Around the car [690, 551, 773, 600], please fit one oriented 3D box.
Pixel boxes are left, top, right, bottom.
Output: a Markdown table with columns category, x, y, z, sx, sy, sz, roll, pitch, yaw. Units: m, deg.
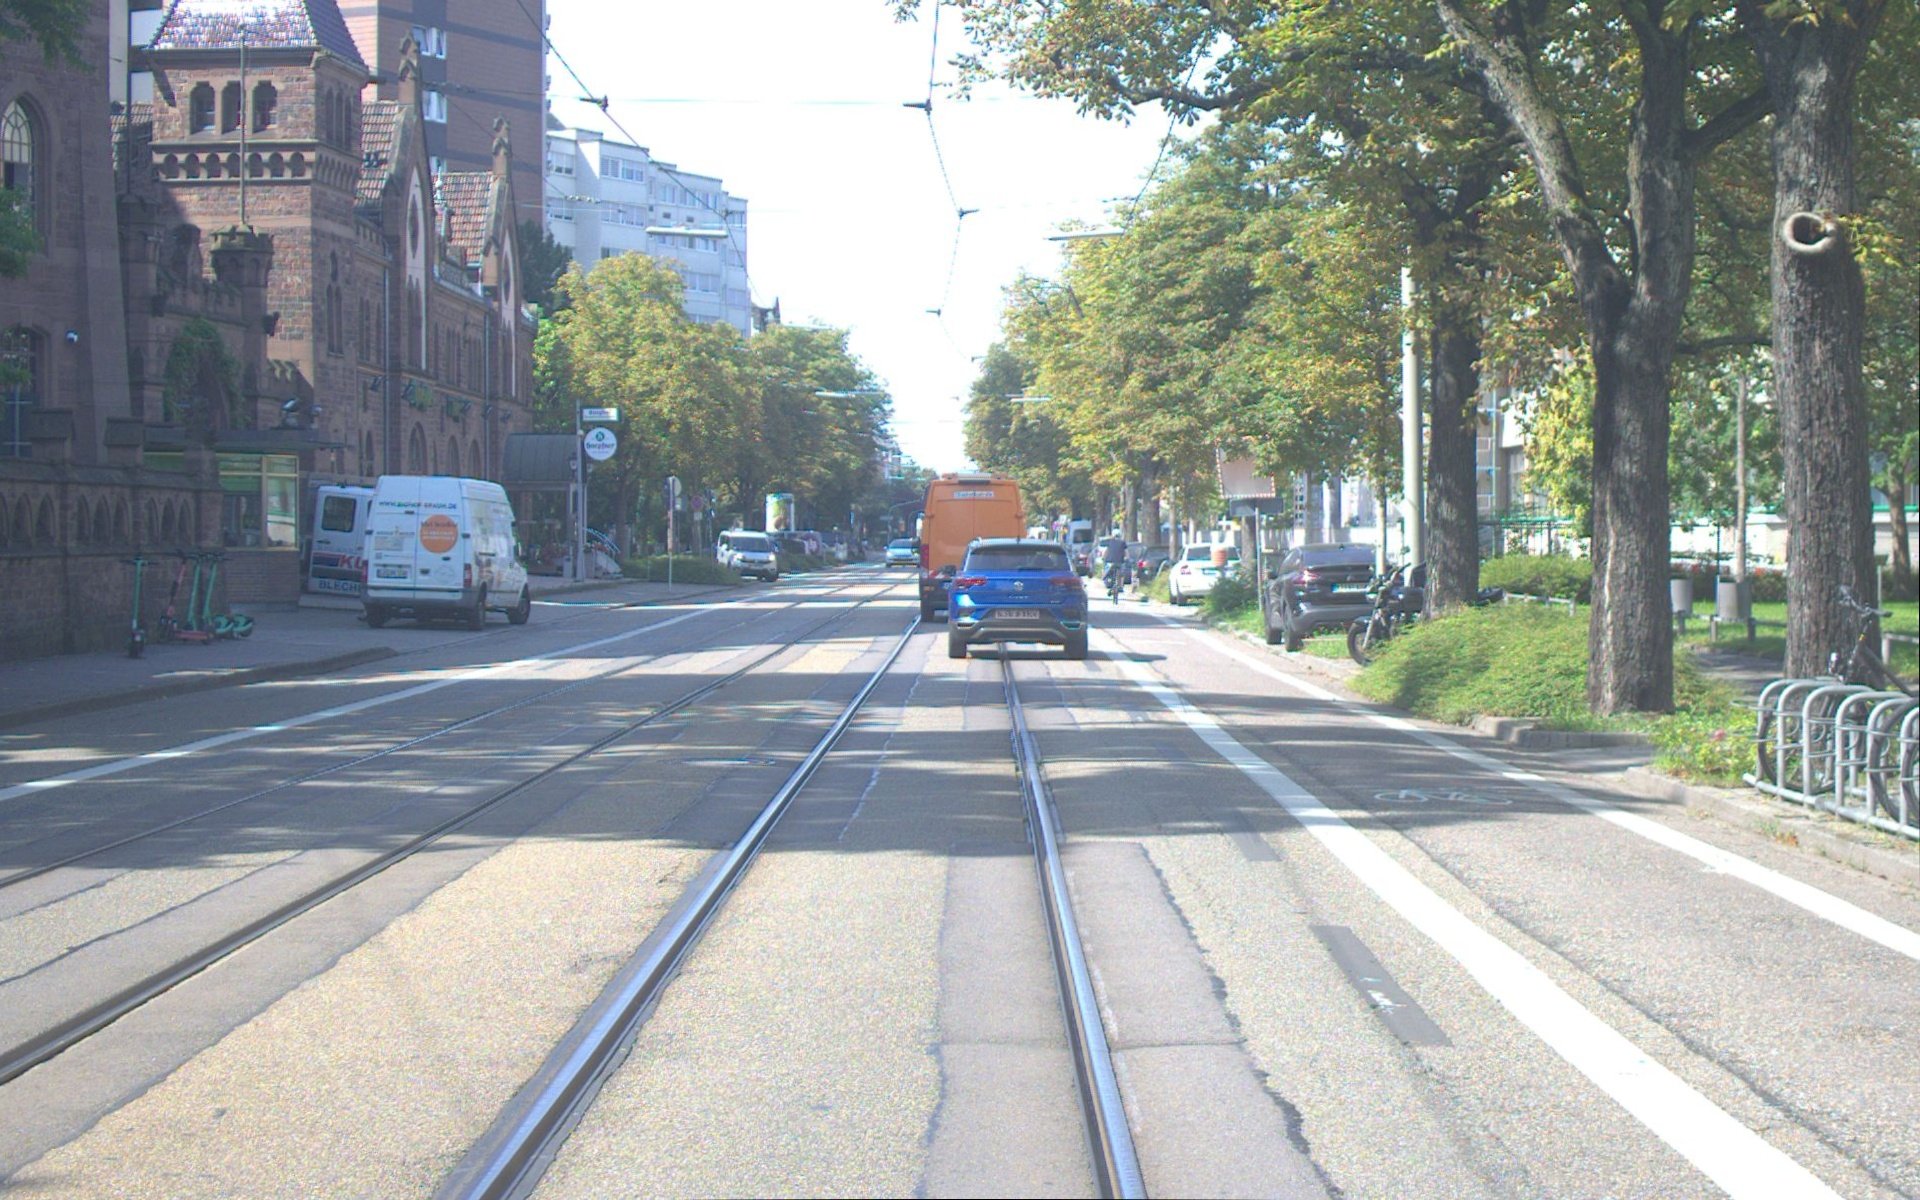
| category | x | y | z | sx | sy | sz | roll | pitch | yaw |
| --- | --- | --- | --- | --- | --- | --- | --- | --- | --- |
| car | -8.582 | -0.941 | 128.900 | 1.746 | 1.790 | 4.001 | 0 | 1 | -25 |

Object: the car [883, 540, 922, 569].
| category | x | y | z | sx | sy | sz | roll | pitch | yaw |
| --- | --- | --- | --- | --- | --- | --- | --- | --- | --- |
| car | -3.027 | -2.383 | 180.900 | 1.847 | 1.486 | 4.867 | -1 | 1 | 1 |

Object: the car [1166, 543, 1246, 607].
| category | x | y | z | sx | sy | sz | roll | pitch | yaw |
| --- | --- | --- | --- | --- | --- | --- | --- | --- | --- |
| car | 5.831 | -0.611 | 81.864 | 1.659 | 1.476 | 4.217 | -1 | 1 | 1 |

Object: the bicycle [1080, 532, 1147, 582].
| category | x | y | z | sx | sy | sz | roll | pitch | yaw |
| --- | --- | --- | --- | --- | --- | --- | --- | --- | --- |
| bicycle | 3.585 | -1.022 | 80.826 | 1.401 | 1.130 | 4.000 | 0 | 1 | 0 |

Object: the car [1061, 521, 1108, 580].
| category | x | y | z | sx | sy | sz | roll | pitch | yaw |
| --- | --- | --- | --- | --- | --- | --- | --- | --- | --- |
| car | 6.004 | -2.401 | 166.097 | 1.993 | 2.746 | 5.761 | 1 | 1 | -1 |

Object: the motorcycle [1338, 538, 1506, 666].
| category | x | y | z | sx | sy | sz | roll | pitch | yaw |
| --- | --- | --- | --- | --- | --- | --- | --- | --- | --- |
| motorcycle | 5.622 | 0.005 | 42.019 | 0.850 | 1.510 | 2.456 | 0 | 1 | -24 |

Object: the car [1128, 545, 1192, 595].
| category | x | y | z | sx | sy | sz | roll | pitch | yaw |
| --- | --- | --- | --- | --- | --- | --- | --- | --- | --- |
| car | 5.806 | -0.883 | 100.247 | 1.659 | 1.403 | 4.217 | -1 | 1 | 1 |

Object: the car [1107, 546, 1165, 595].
| category | x | y | z | sx | sy | sz | roll | pitch | yaw |
| --- | --- | --- | --- | --- | --- | --- | --- | --- | --- |
| car | 5.705 | -0.958 | 111.801 | 1.743 | 1.550 | 4.217 | -1 | 1 | 1 |

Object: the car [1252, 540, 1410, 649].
| category | x | y | z | sx | sy | sz | roll | pitch | yaw |
| --- | --- | --- | --- | --- | --- | --- | --- | --- | --- |
| car | 5.446 | -0.112 | 50.988 | 1.756 | 1.510 | 4.610 | -1 | 1 | -1 |

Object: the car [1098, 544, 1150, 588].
| category | x | y | z | sx | sy | sz | roll | pitch | yaw |
| --- | --- | --- | --- | --- | --- | --- | --- | --- | --- |
| car | 5.925 | -1.252 | 124.895 | 1.633 | 1.579 | 4.189 | 1 | 1 | -1 |

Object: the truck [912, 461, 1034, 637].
| category | x | y | z | sx | sy | sz | roll | pitch | yaw |
| --- | --- | --- | --- | --- | --- | --- | --- | --- | --- |
| truck | 0.258 | -0.949 | 63.997 | 2.135 | 3.113 | 6.085 | 0 | 1 | 1 |

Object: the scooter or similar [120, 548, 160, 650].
| category | x | y | z | sx | sy | sz | roll | pitch | yaw |
| --- | --- | --- | --- | --- | --- | --- | --- | --- | --- |
| scooter or similar | -9.624 | -0.024 | 40.338 | 0.420 | 1.174 | 1.317 | 0 | 1 | -15 |

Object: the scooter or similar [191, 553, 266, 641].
| category | x | y | z | sx | sy | sz | roll | pitch | yaw |
| --- | --- | --- | --- | --- | --- | --- | --- | --- | --- |
| scooter or similar | -9.983 | -0.049 | 46.953 | 0.340 | 1.174 | 1.176 | 1 | 1 | 26 |

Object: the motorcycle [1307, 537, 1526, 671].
| category | x | y | z | sx | sy | sz | roll | pitch | yaw |
| --- | --- | --- | --- | --- | --- | --- | --- | --- | --- |
| motorcycle | 5.343 | 0.031 | 40.323 | 2.453 | 1.510 | 0.851 | 1 | 1 | 39 |

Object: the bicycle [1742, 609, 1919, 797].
| category | x | y | z | sx | sy | sz | roll | pitch | yaw |
| --- | --- | --- | --- | --- | --- | --- | --- | --- | --- |
| bicycle | 5.470 | 0.584 | 19.851 | 1.771 | 1.046 | 0.541 | -1 | 1 | 0 |

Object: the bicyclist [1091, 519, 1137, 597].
| category | x | y | z | sx | sy | sz | roll | pitch | yaw |
| --- | --- | --- | --- | --- | --- | --- | --- | --- | --- |
| bicyclist | 3.622 | -0.986 | 80.811 | 1.031 | 1.806 | 1.016 | 1 | 1 | 0 |

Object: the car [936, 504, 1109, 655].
| category | x | y | z | sx | sy | sz | roll | pitch | yaw |
| --- | --- | --- | --- | --- | --- | --- | --- | --- | --- |
| car | 0.806 | -0.300 | 45.497 | 2.135 | 1.852 | 5.568 | 0 | 1 | 1 |

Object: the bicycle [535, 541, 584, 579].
| category | x | y | z | sx | sy | sz | roll | pitch | yaw |
| --- | --- | --- | --- | --- | --- | --- | --- | --- | --- |
| bicycle | -12.616 | -1.263 | 108.357 | 1.451 | 1.089 | 0.399 | 4 | 0 | -3 |

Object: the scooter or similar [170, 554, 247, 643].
| category | x | y | z | sx | sy | sz | roll | pitch | yaw |
| --- | --- | --- | --- | --- | --- | --- | --- | --- | --- |
| scooter or similar | -10.007 | -0.030 | 45.819 | 0.340 | 1.174 | 1.176 | 1 | 1 | 26 |

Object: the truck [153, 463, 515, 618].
| category | x | y | z | sx | sy | sz | roll | pitch | yaw |
| --- | --- | --- | --- | --- | --- | --- | --- | --- | --- |
| truck | -11.869 | -1.159 | 65.377 | 6.322 | 2.529 | 2.130 | 3 | 2 | 6 |

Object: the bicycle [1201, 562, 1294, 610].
| category | x | y | z | sx | sy | sz | roll | pitch | yaw |
| --- | --- | --- | --- | --- | --- | --- | --- | --- | --- |
| bicycle | 5.782 | -0.284 | 69.107 | 1.812 | 0.955 | 0.558 | 1 | 1 | 1 |

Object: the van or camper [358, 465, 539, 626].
| category | x | y | z | sx | sy | sz | roll | pitch | yaw |
| --- | --- | --- | --- | --- | --- | --- | --- | --- | --- |
| van or camper | -8.923 | -0.958 | 60.487 | 2.113 | 2.666 | 5.955 | 1 | 1 | 2 |

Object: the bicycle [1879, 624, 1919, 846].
| category | x | y | z | sx | sy | sz | roll | pitch | yaw |
| --- | --- | --- | --- | --- | --- | --- | --- | --- | --- |
| bicycle | 5.423 | 0.637 | 16.694 | 1.771 | 1.046 | 0.541 | -1 | 1 | 0 |

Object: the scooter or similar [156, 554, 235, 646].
| category | x | y | z | sx | sy | sz | roll | pitch | yaw |
| --- | --- | --- | --- | --- | --- | --- | --- | --- | --- |
| scooter or similar | -9.926 | -0.009 | 44.646 | 0.340 | 1.174 | 1.176 | 1 | 1 | 26 |

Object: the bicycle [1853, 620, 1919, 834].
| category | x | y | z | sx | sy | sz | roll | pitch | yaw |
| --- | --- | --- | --- | --- | --- | --- | --- | --- | --- |
| bicycle | 5.472 | 0.626 | 17.371 | 1.771 | 1.046 | 0.541 | -1 | 1 | 0 |

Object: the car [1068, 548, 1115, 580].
| category | x | y | z | sx | sy | sz | roll | pitch | yaw |
| --- | --- | --- | --- | --- | --- | --- | --- | --- | --- |
| car | 5.931 | -1.629 | 155.513 | 1.908 | 1.427 | 4.292 | 1 | 1 | -1 |
